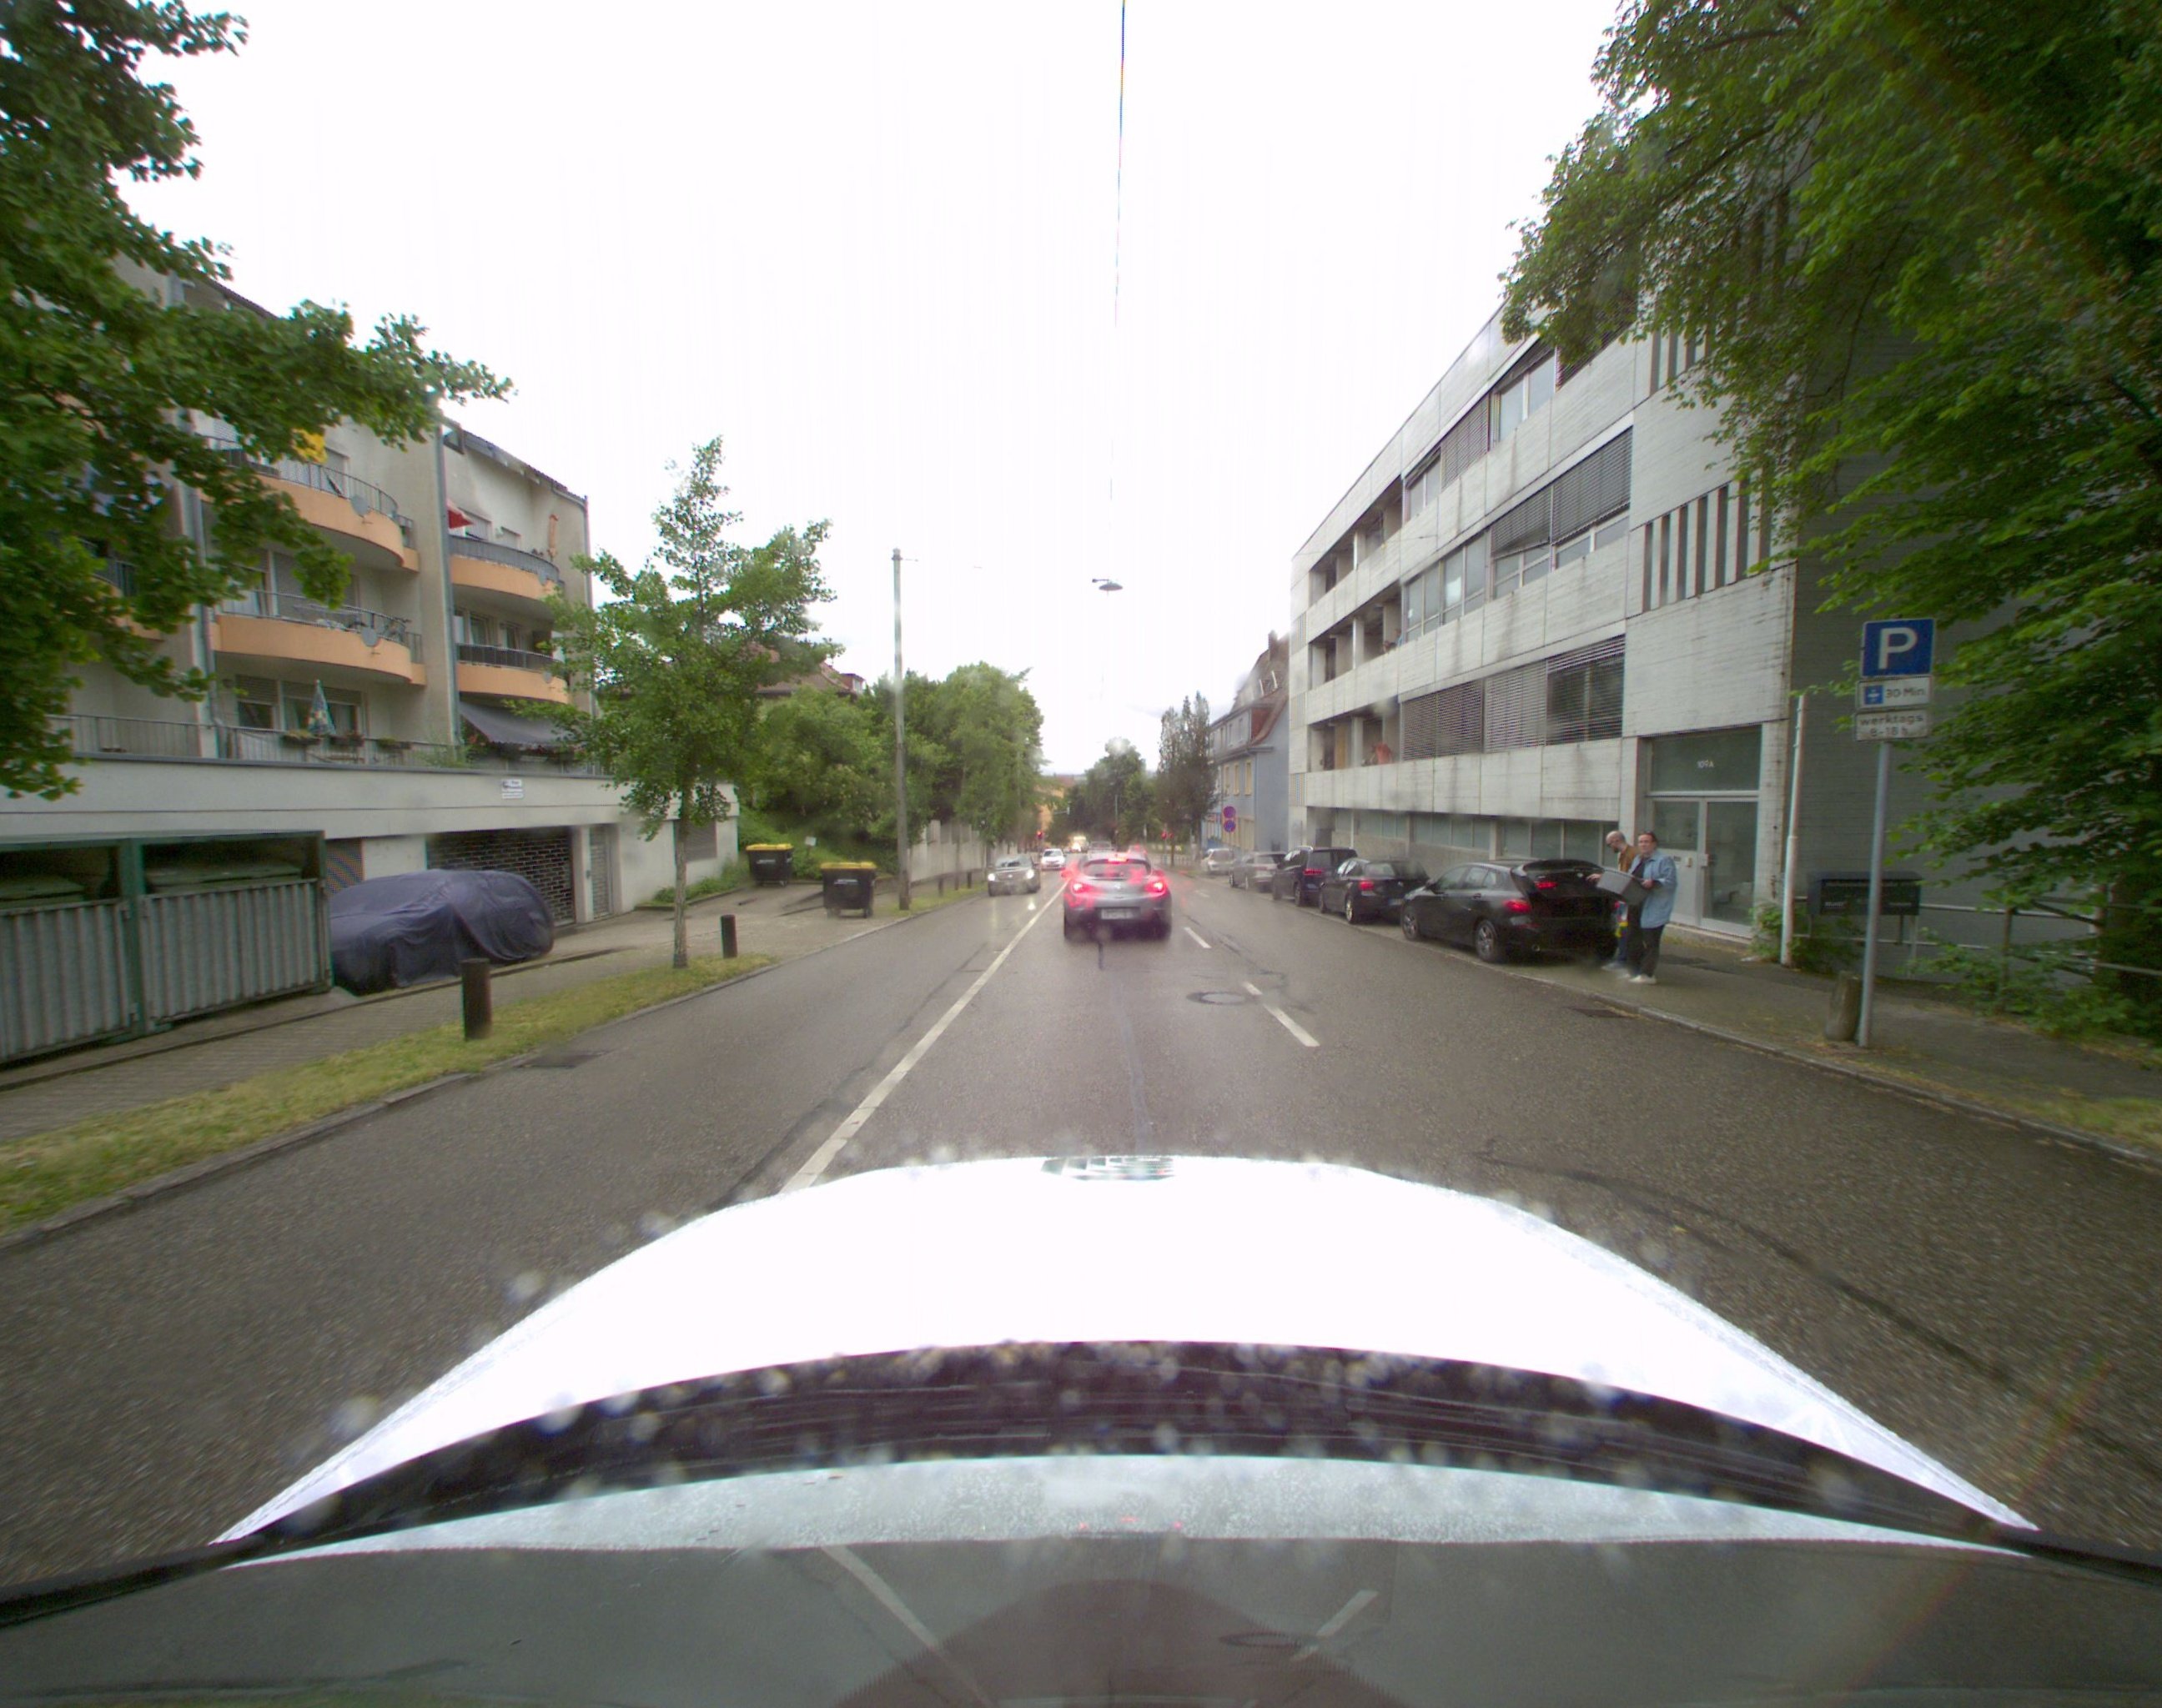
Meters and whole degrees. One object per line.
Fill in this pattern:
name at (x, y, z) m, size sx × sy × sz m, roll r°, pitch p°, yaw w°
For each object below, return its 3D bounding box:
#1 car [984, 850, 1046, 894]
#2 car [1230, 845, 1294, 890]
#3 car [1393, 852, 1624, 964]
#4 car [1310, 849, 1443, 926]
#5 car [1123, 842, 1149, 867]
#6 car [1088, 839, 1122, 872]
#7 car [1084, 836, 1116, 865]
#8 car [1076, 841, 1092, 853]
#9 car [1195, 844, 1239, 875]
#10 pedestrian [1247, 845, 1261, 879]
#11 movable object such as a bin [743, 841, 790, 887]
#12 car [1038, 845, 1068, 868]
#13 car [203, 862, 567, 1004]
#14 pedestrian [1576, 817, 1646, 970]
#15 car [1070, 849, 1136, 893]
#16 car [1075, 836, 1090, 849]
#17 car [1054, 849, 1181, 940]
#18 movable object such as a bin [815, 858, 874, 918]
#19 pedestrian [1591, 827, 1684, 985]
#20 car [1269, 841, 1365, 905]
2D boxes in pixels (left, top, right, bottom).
car at (-2.473, 0.627, 31.343) m, size 1.843 × 1.469 × 4.089 m, roll -4°, pitch 0°, yaw 2°
car at (6.745, 0.456, 30.782) m, size 1.578 × 1.493 × 4.292 m, roll -1°, pitch 1°, yaw 2°
car at (6.417, 0.715, 12.768) m, size 1.499 × 1.435 × 3.999 m, roll -1°, pitch 0°, yaw 0°
car at (6.543, 0.670, 18.496) m, size 1.675 × 1.464 × 4.003 m, roll -1°, pitch 1°, yaw 2°
car at (4.868, -0.009, 72.722) m, size 1.986 × 2.036 × 4.737 m, roll 2°, pitch 1°, yaw 1°
car at (1.382, 0.047, 47.801) m, size 1.763 × 1.780 × 3.975 m, roll 2°, pitch 1°, yaw -1°
car at (1.516, -0.320, 64.050) m, size 2.325 × 2.036 × 4.737 m, roll 2°, pitch 1°, yaw 1°
car at (0.445, -0.961, 110.059) m, size 1.986 × 1.535 × 4.311 m, roll 2°, pitch 1°, yaw 1°
car at (7.557, 0.272, 45.648) m, size 1.899 × 1.570 × 4.002 m, roll -1°, pitch 1°, yaw 2°
pedestrian at (8.944, 0.406, 42.069) m, size 0.643 × 1.784 × 0.542 m, roll 0°, pitch 1°, yaw 1°
movable object such as a bin at (-9.709, 0.297, 25.170) m, size 1.268 × 1.387 × 0.488 m, roll 1°, pitch 1°, yaw -2°
car at (-1.966, 0.148, 58.493) m, size 1.816 × 1.479 × 3.865 m, roll -4°, pitch 1°, yaw 2°
car at (-9.350, 0.938, 11.464) m, size 1.737 × 1.456 × 3.882 m, roll -4°, pitch 1°, yaw -1°
pedestrian at (6.705, 0.473, 10.298) m, size 0.657 × 1.836 × 0.693 m, roll -2°, pitch 1°, yaw 36°
car at (0.655, 0.524, 26.899) m, size 1.794 × 1.323 × 3.994 m, roll 1°, pitch 0°, yaw -4°
car at (0.266, -1.665, 117.633) m, size 1.986 × 1.784 × 4.002 m, roll 2°, pitch 1°, yaw 2°
car at (0.528, 0.627, 14.997) m, size 1.941 × 1.432 × 3.880 m, roll 0°, pitch 0°, yaw -3°
movable object such as a bin at (-5.676, 0.806, 19.568) m, size 1.268 × 1.387 × 0.488 m, roll 1°, pitch 1°, yaw -2°
pedestrian at (6.419, 0.574, 9.437) m, size 0.728 × 1.723 × 0.770 m, roll -2°, pitch 1°, yaw 25°
car at (6.613, 0.464, 23.207) m, size 1.679 × 1.570 × 4.003 m, roll -1°, pitch 1°, yaw 2°
